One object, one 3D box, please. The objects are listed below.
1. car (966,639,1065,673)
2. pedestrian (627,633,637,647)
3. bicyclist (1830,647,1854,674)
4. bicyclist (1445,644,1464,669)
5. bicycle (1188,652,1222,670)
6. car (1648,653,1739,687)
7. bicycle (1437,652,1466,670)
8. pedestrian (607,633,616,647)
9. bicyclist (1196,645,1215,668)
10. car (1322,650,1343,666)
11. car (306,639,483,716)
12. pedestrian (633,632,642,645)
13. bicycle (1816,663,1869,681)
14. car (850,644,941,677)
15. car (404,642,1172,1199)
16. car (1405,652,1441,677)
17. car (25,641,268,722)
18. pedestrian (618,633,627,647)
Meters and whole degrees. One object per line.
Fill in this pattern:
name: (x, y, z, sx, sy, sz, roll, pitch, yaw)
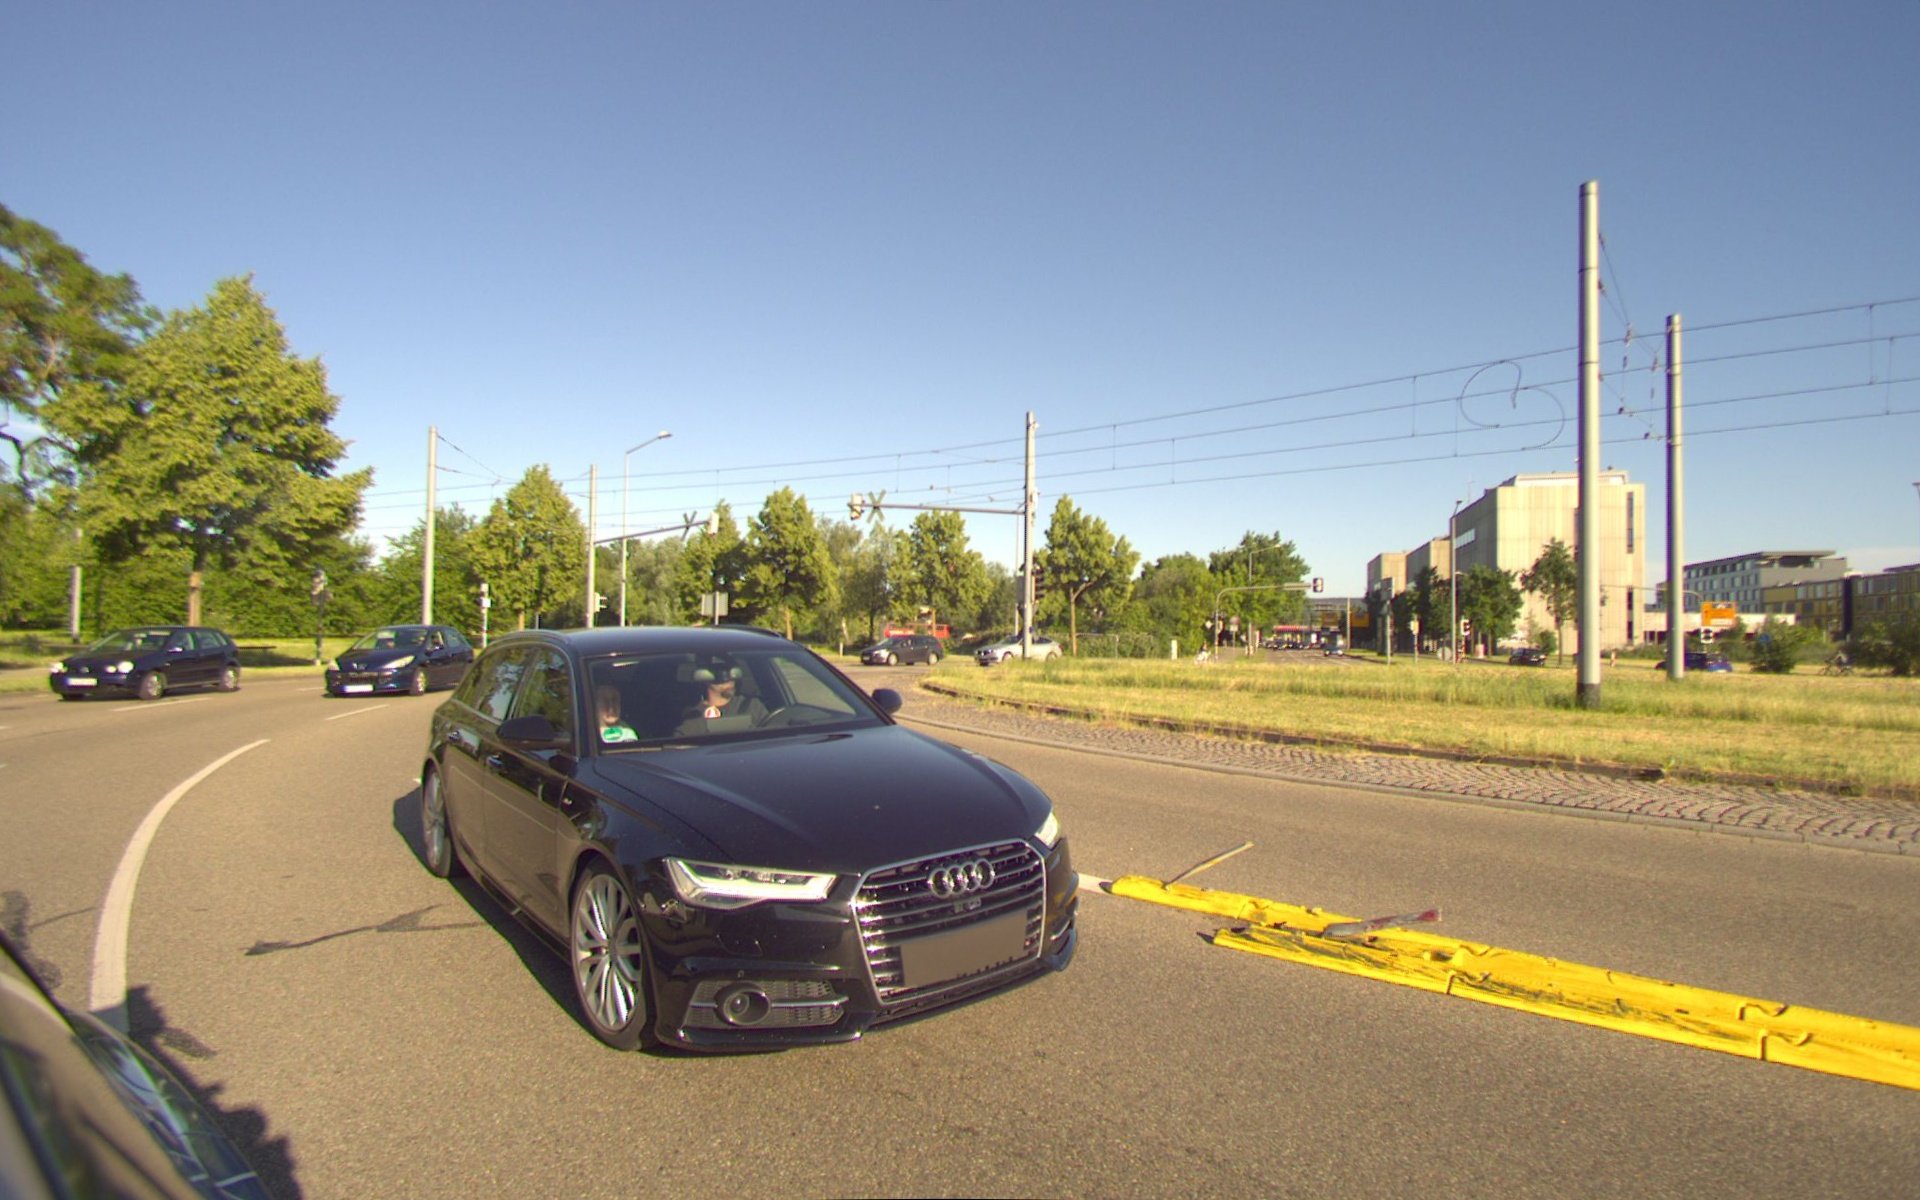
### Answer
car: (2.617, 2.561, 47.033, 4.465, 1.390, 1.941, 0, -2, -40)
pedestrian: (-35.433, 4.342, 109.223, 0.763, 1.451, 0.794, 0, -3, 1)
bicyclist: (52.021, 3.573, 59.680, 0.651, 1.592, 0.837, 2, -3, -25)
bicyclist: (33.405, 3.841, 68.383, 0.932, 1.676, 0.702, -1, -2, 8)
bicycle: (17.181, 4.285, 70.985, 2.183, 1.164, 0.877, 1, -1, -5)
car: (40.212, 3.806, 55.594, 1.747, 1.799, 3.925, 0, -3, -9)
bicycle: (33.209, 4.114, 68.394, 1.636, 1.137, 0.702, -1, -2, 9)
pedestrian: (-37.642, 4.300, 109.311, 0.677, 1.451, 0.794, 0, -3, 1)
bicyclist: (17.209, 3.953, 71.002, 1.071, 1.573, 0.877, 1, -1, -5)
car: (41.518, 6.458, 112.921, 1.941, 1.627, 3.895, -1, -3, 17)
car: (-12.060, 1.608, 21.895, 1.732, 1.465, 4.002, -1, -2, -2)
pedestrian: (-34.725, 4.150, 109.037, 0.653, 1.451, 0.794, 0, -3, 1)
bicycle: (52.034, 4.209, 59.677, 0.651, 0.995, 2.270, 2, -3, -25)
car: (-2.998, 2.799, 47.273, 4.005, 1.390, 1.727, 0, -2, -40)
car: (-1.448, 0.964, 5.124, 1.769, 1.454, 5.028, 0, -2, -36)
car: (35.958, 4.980, 78.645, 2.448, 1.799, 4.972, -1, -3, 25)
car: (-16.757, 1.616, 21.205, 1.614, 1.479, 4.549, 0, -2, -3)
pedestrian: (-36.274, 4.326, 108.829, 0.677, 1.451, 0.794, 0, -3, 1)
